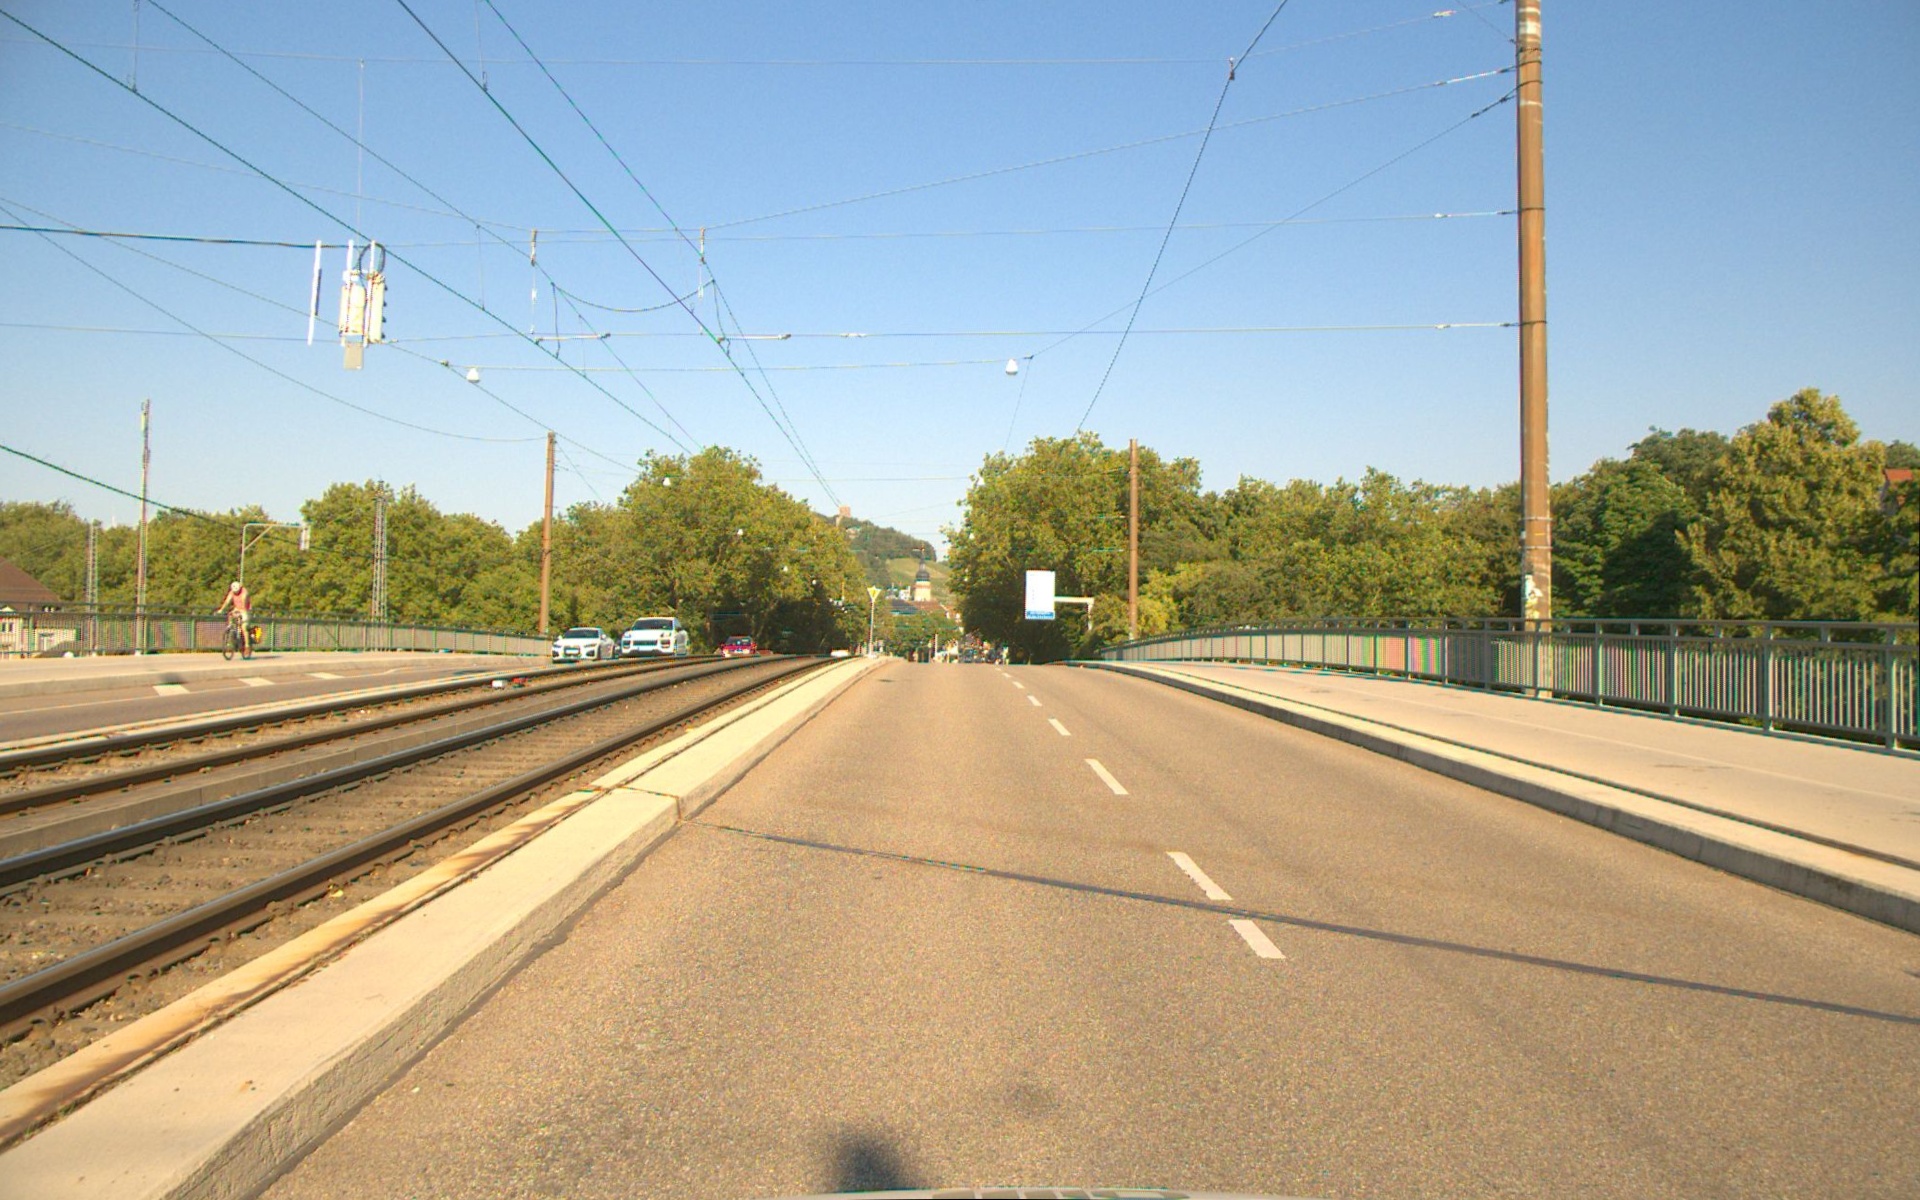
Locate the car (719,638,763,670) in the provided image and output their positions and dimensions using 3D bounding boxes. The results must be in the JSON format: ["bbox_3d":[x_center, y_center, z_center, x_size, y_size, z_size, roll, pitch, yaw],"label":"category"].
[{"bbox_3d":[-11.514,2.872,86.986,1.771,1.546,3.998,2,-3,-1],"label":"car"}]

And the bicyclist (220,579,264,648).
[{"bbox_3d":[-17.470,0.337,40.237,0.612,1.662,0.935,1,-1,0],"label":"bicyclist"}]

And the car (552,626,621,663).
[{"bbox_3d":[-14.777,1.746,65.660,1.649,1.380,4.919,1,-1,-1],"label":"car"}]

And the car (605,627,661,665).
[{"bbox_3d":[-15.156,2.107,76.950,1.743,1.679,4.445,1,-1,-1],"label":"car"}]

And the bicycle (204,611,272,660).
[{"bbox_3d":[-17.481,0.867,40.108,0.612,1.142,2.259,1,-1,1],"label":"bicycle"}]

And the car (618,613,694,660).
[{"bbox_3d":[-11.349,1.364,62.070,1.960,1.666,5.089,1,-1,-1],"label":"car"}]
